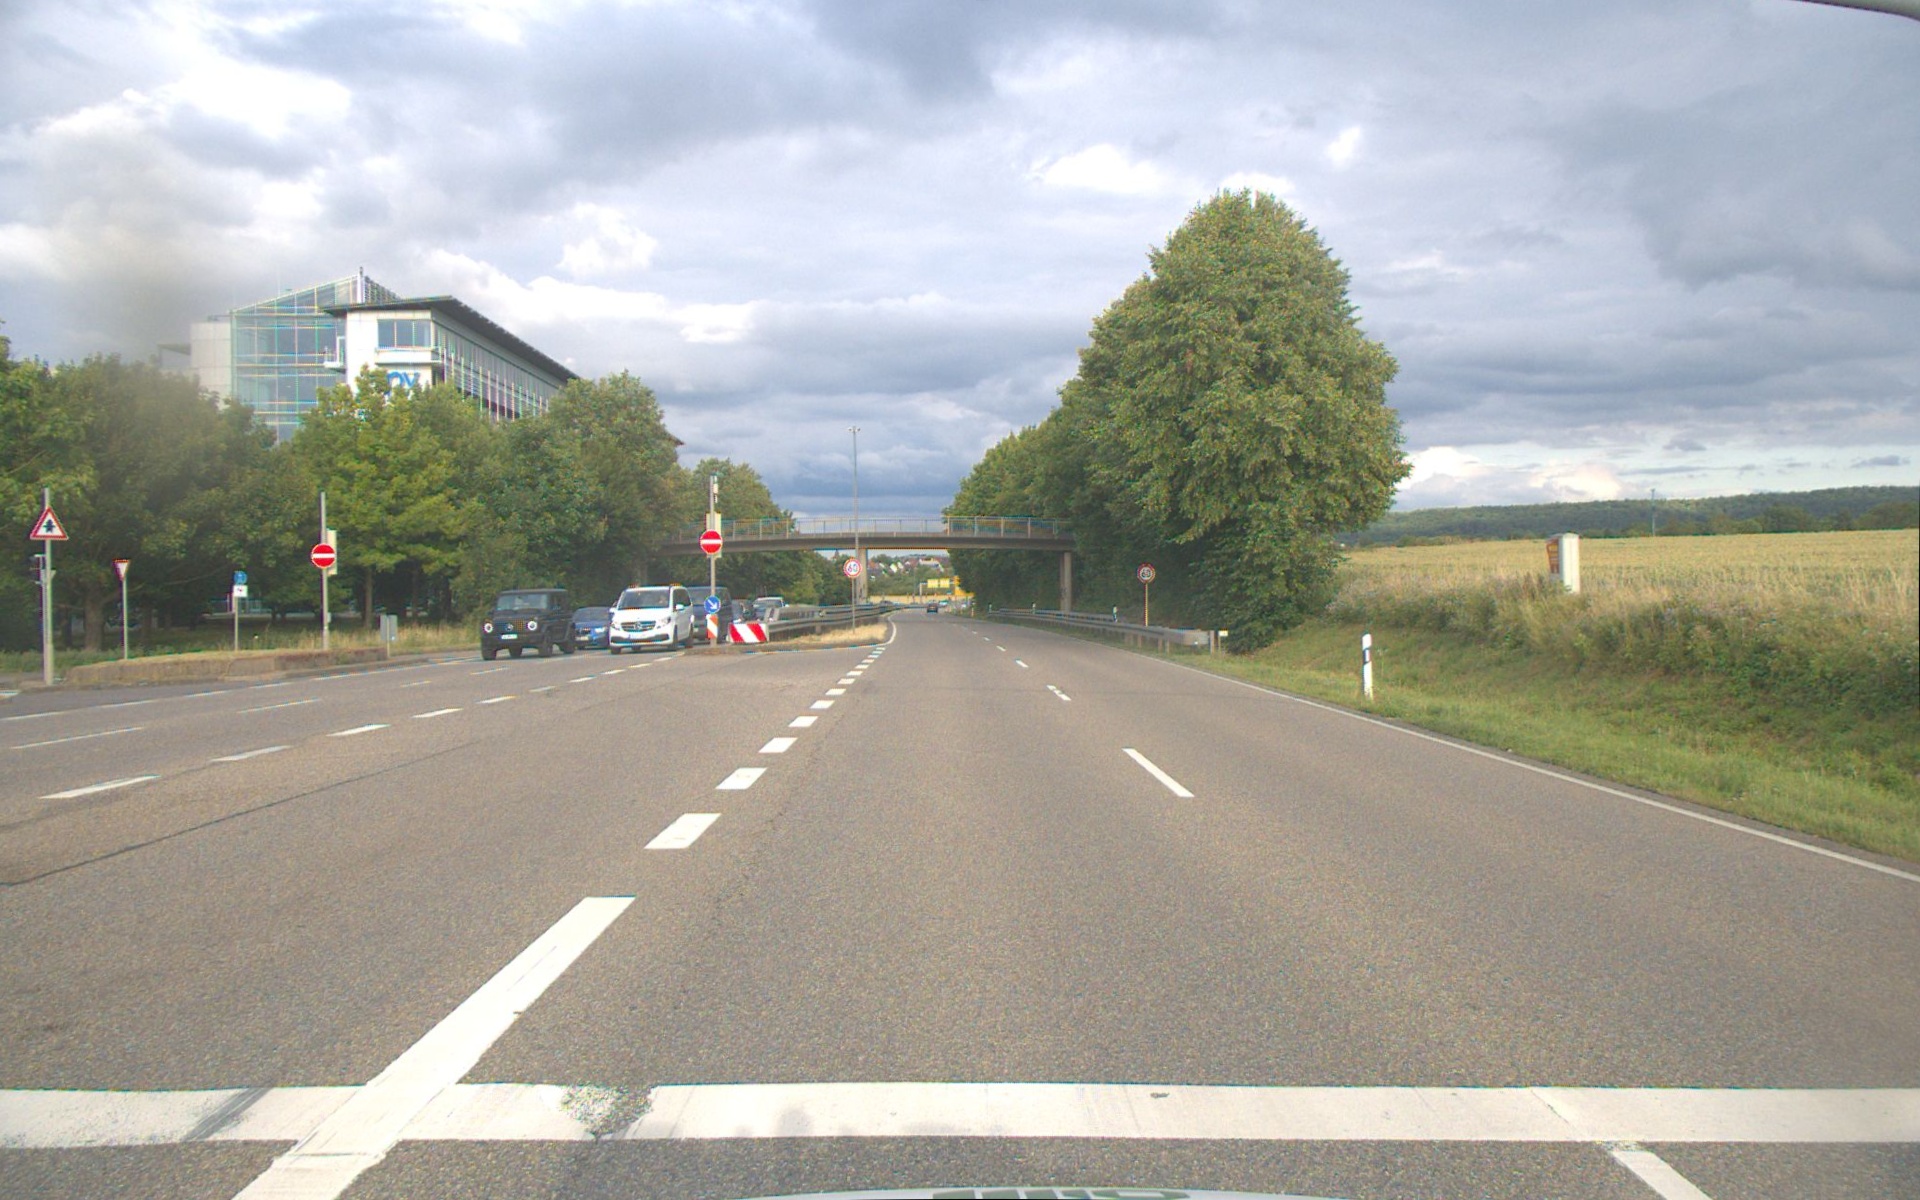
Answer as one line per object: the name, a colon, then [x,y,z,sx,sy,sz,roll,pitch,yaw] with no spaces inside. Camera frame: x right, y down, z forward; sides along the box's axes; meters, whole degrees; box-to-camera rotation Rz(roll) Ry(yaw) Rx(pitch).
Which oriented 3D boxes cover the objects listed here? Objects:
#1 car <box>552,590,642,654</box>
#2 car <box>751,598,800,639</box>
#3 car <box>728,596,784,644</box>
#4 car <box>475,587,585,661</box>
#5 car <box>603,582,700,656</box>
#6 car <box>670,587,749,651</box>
car: [-12.331,0.729,56.555,2.041,2.049,5.214,1,0,-2]
car: [-9.472,0.938,85.305,2.041,2.049,5.214,1,0,-2]
car: [-9.251,0.891,75.492,2.041,2.049,5.214,1,0,-2]
car: [-12.667,0.683,49.050,2.041,2.049,5.214,1,0,-2]
car: [-9.108,0.544,49.216,2.041,2.049,5.214,1,0,-2]
car: [-8.567,0.639,56.959,2.041,2.049,5.214,1,0,-2]
